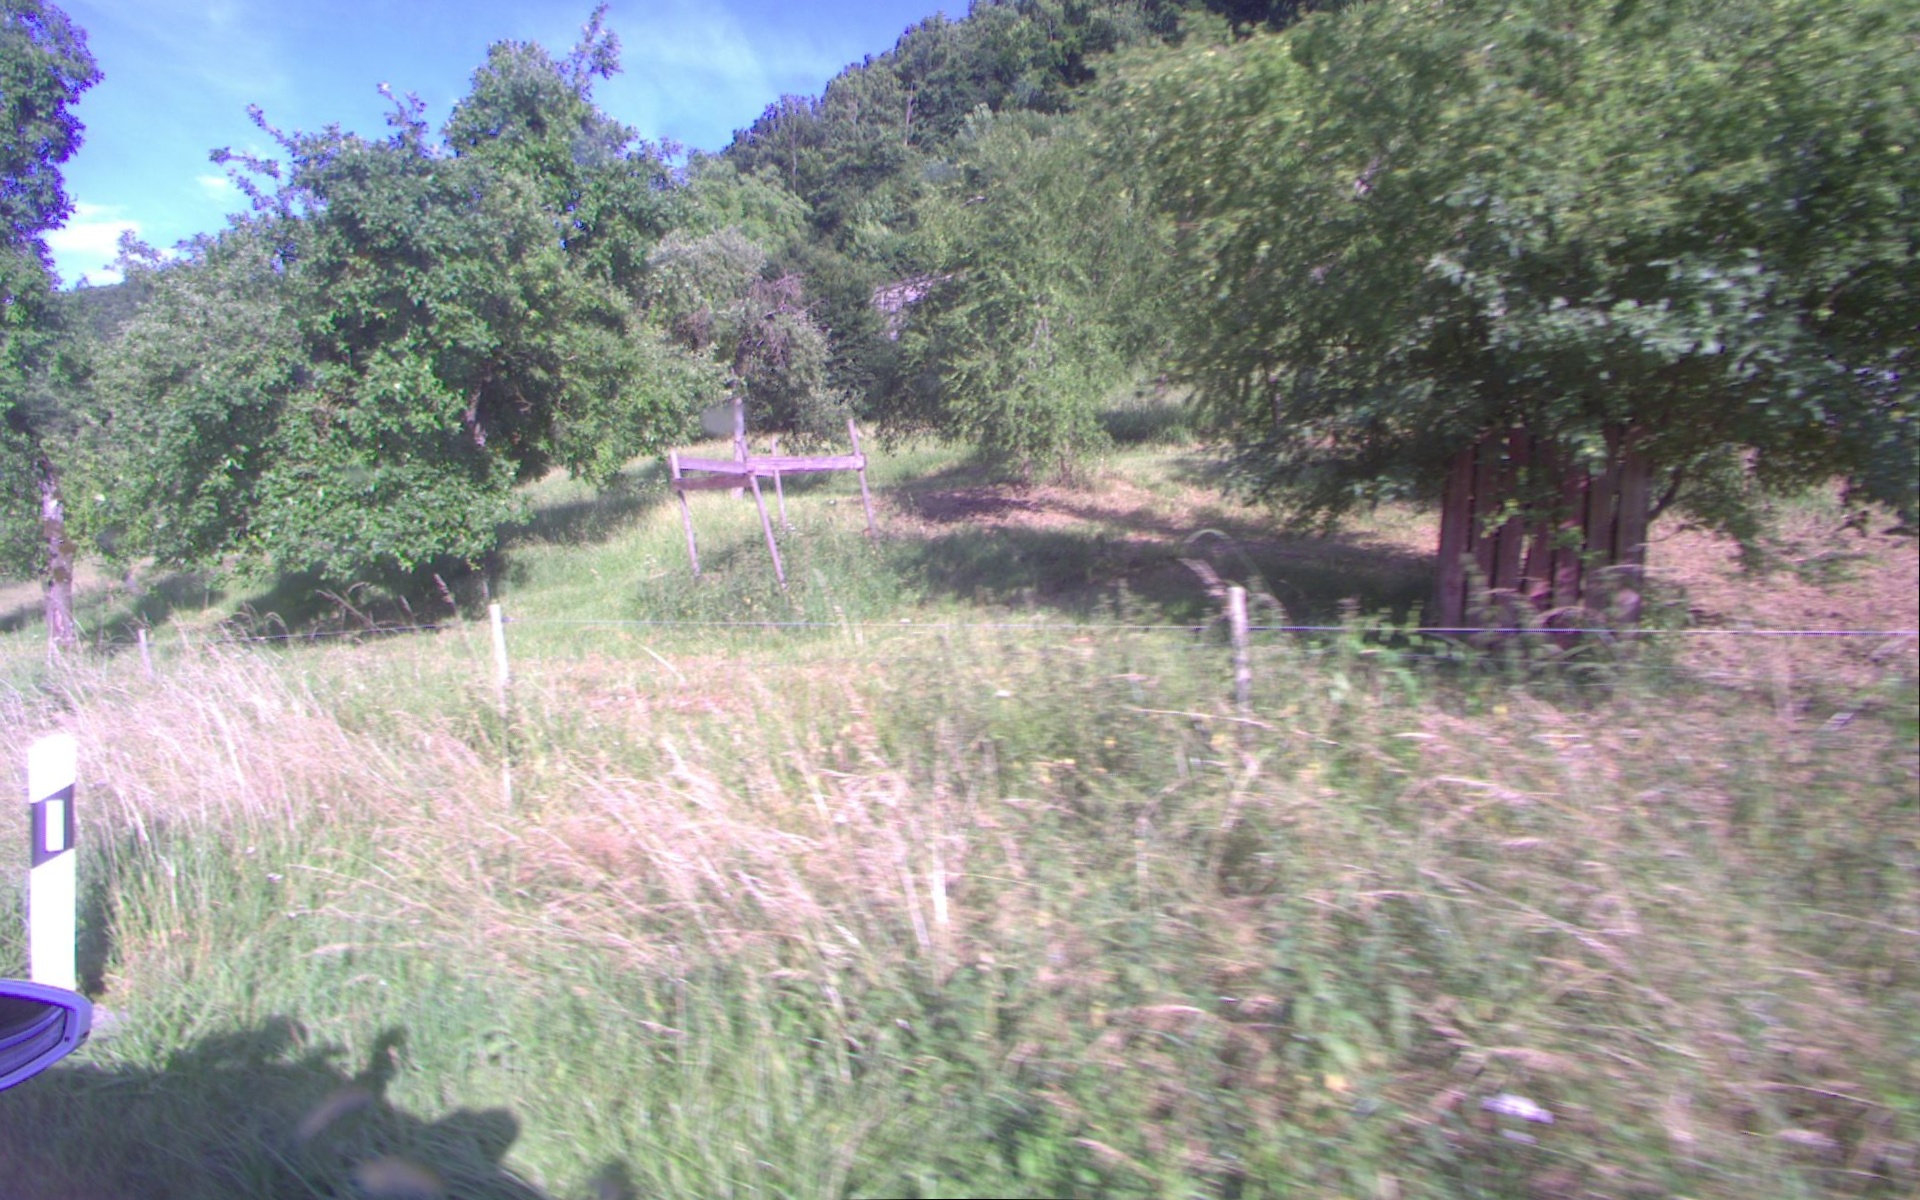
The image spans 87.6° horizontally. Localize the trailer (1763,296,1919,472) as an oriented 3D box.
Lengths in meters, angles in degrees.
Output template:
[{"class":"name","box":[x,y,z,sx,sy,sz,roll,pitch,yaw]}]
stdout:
[{"class":"trailer","box":[16.888,-3.577,16.567,5.164,2.594,2.149,3,3,29]}]
